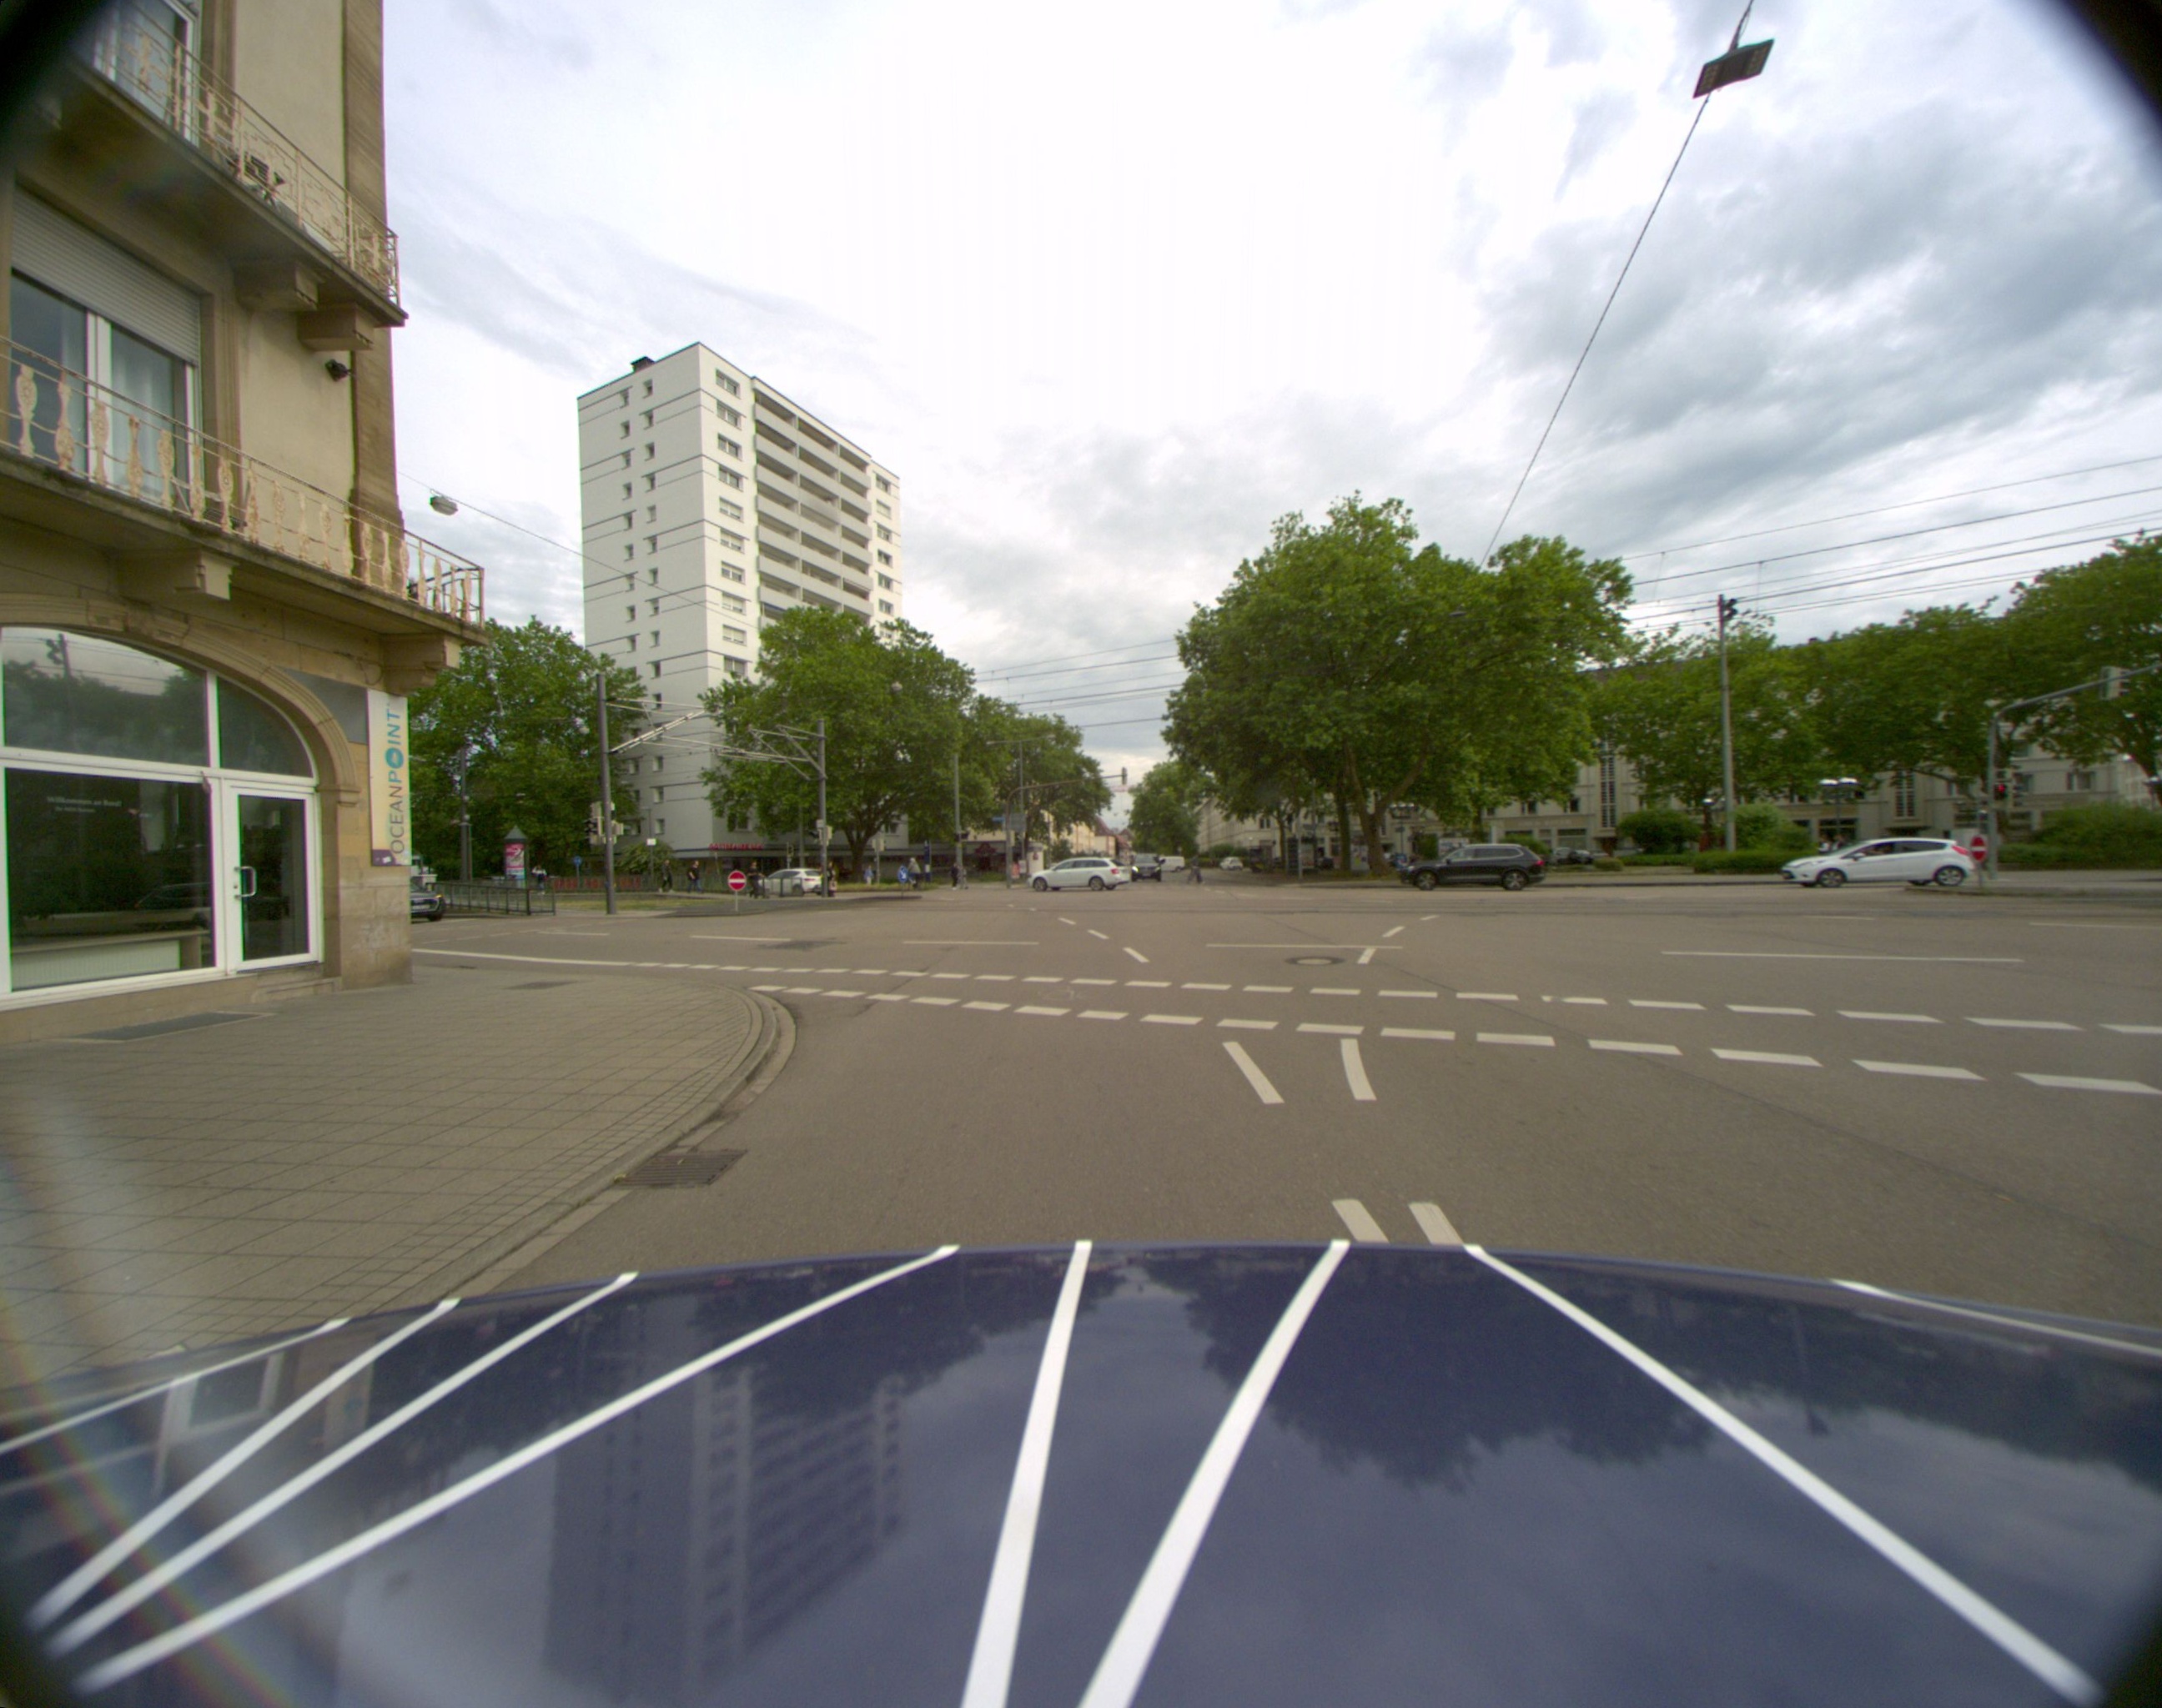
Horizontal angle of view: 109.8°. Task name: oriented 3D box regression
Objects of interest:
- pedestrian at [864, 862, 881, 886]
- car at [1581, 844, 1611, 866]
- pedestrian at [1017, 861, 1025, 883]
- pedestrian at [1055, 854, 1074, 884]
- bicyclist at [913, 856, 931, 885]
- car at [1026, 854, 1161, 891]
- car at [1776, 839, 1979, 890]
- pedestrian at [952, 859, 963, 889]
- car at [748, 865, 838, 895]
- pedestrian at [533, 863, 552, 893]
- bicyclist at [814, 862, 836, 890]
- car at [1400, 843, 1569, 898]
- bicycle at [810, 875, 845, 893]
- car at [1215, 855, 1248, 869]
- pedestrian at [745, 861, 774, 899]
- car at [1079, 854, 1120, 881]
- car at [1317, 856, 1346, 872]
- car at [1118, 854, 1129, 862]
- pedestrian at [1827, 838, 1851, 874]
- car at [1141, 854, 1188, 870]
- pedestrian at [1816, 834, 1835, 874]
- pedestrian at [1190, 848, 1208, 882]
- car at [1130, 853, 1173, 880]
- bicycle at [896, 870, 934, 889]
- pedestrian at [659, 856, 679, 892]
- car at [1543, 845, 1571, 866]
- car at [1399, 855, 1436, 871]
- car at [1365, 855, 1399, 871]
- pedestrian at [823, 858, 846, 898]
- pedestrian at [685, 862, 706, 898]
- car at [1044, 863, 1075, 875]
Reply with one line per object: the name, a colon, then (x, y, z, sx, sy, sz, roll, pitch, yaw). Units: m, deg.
pedestrian: (-13.299, 1.282, 48.467, 0.851, 1.500, 0.555, -1, 2, 24)
car: (49.843, 0.070, 73.642, 1.995, 2.002, 4.007, -1, 0, 28)
pedestrian: (-3.761, 1.146, 47.659, 0.417, 1.357, 0.391, -2, 2, -2)
pedestrian: (-0.952, 0.860, 43.610, 0.754, 1.680, 0.808, -2, 0, 21)
bicyclist: (-8.639, 0.909, 41.218, 0.755, 1.552, 0.586, -1, -2, 26)
car: (0.514, 0.855, 33.619, 5.688, 1.516, 1.850, -2, -1, 24)
car: (23.908, 0.329, 23.003, 3.881, 1.390, 1.710, -2, 1, 26)
pedestrian: (-6.915, 1.106, 42.481, 0.524, 1.603, 0.526, -2, 2, -6)
car: (-15.049, 1.358, 39.685, 4.402, 1.439, 1.851, -2, 1, 26)
pedestrian: (-30.768, 1.380, 43.421, 0.563, 1.659, 0.623, -1, 2, 26)
bicyclist: (-15.001, 1.314, 44.603, 0.992, 1.627, 0.709, -1, -1, 25)
car: (14.226, 0.595, 27.054, 5.136, 1.773, 1.710, -2, 1, 26)
bicycle: (-14.856, 1.765, 44.511, 1.988, 1.058, 0.731, -1, -1, 25)
car: (17.575, 0.929, 89.077, 1.804, 1.477, 3.992, -2, 0, -24)
pedestrian: (-14.740, 1.175, 34.843, 0.876, 1.686, 0.744, -1, 2, 26)
car: (1.270, 0.965, 50.855, 1.660, 1.708, 3.746, -2, -2, 19)
car: (24.458, 0.951, 74.332, 1.997, 1.381, 4.836, -1, 0, 9)
car: (10.713, 1.024, 191.834, 1.996, 2.002, 4.004, -2, 1, 17)
pedestrian: (27.837, 0.072, 27.897, 0.469, 1.318, 0.457, -1, 0, 19)
car: (9.439, 0.892, 86.027, 4.833, 1.654, 1.998, -1, 0, -11)
pedestrian: (27.900, 0.006, 28.461, 0.373, 1.470, 0.362, -1, 0, 19)
pedestrian: (6.637, 0.622, 42.745, 0.689, 1.876, 0.687, -3, 2, -25)
car: (4.634, 0.858, 49.698, 1.908, 1.708, 3.746, -2, -2, 19)
bicycle: (-9.059, 1.386, 41.363, 1.988, 1.058, 0.731, -1, -1, 26)
pedestrian: (-21.073, 1.023, 38.867, 0.533, 1.779, 0.623, -1, 2, 26)
car: (47.133, 0.144, 75.314, 1.995, 2.002, 4.007, -1, 0, 28)
car: (31.501, 0.790, 71.225, 1.997, 1.381, 4.836, -1, 0, 9)
car: (28.340, 0.850, 71.614, 1.997, 1.381, 4.836, -1, 0, 9)
pedestrian: (-11.097, 1.081, 34.226, 0.626, 1.740, 0.657, -1, 2, 28)
pedestrian: (-18.795, 1.269, 37.049, 0.547, 1.741, 0.623, -1, 2, 26)
car: (-2.916, 2.060, 104.642, 3.994, 1.368, 1.819, -2, 1, 9)
